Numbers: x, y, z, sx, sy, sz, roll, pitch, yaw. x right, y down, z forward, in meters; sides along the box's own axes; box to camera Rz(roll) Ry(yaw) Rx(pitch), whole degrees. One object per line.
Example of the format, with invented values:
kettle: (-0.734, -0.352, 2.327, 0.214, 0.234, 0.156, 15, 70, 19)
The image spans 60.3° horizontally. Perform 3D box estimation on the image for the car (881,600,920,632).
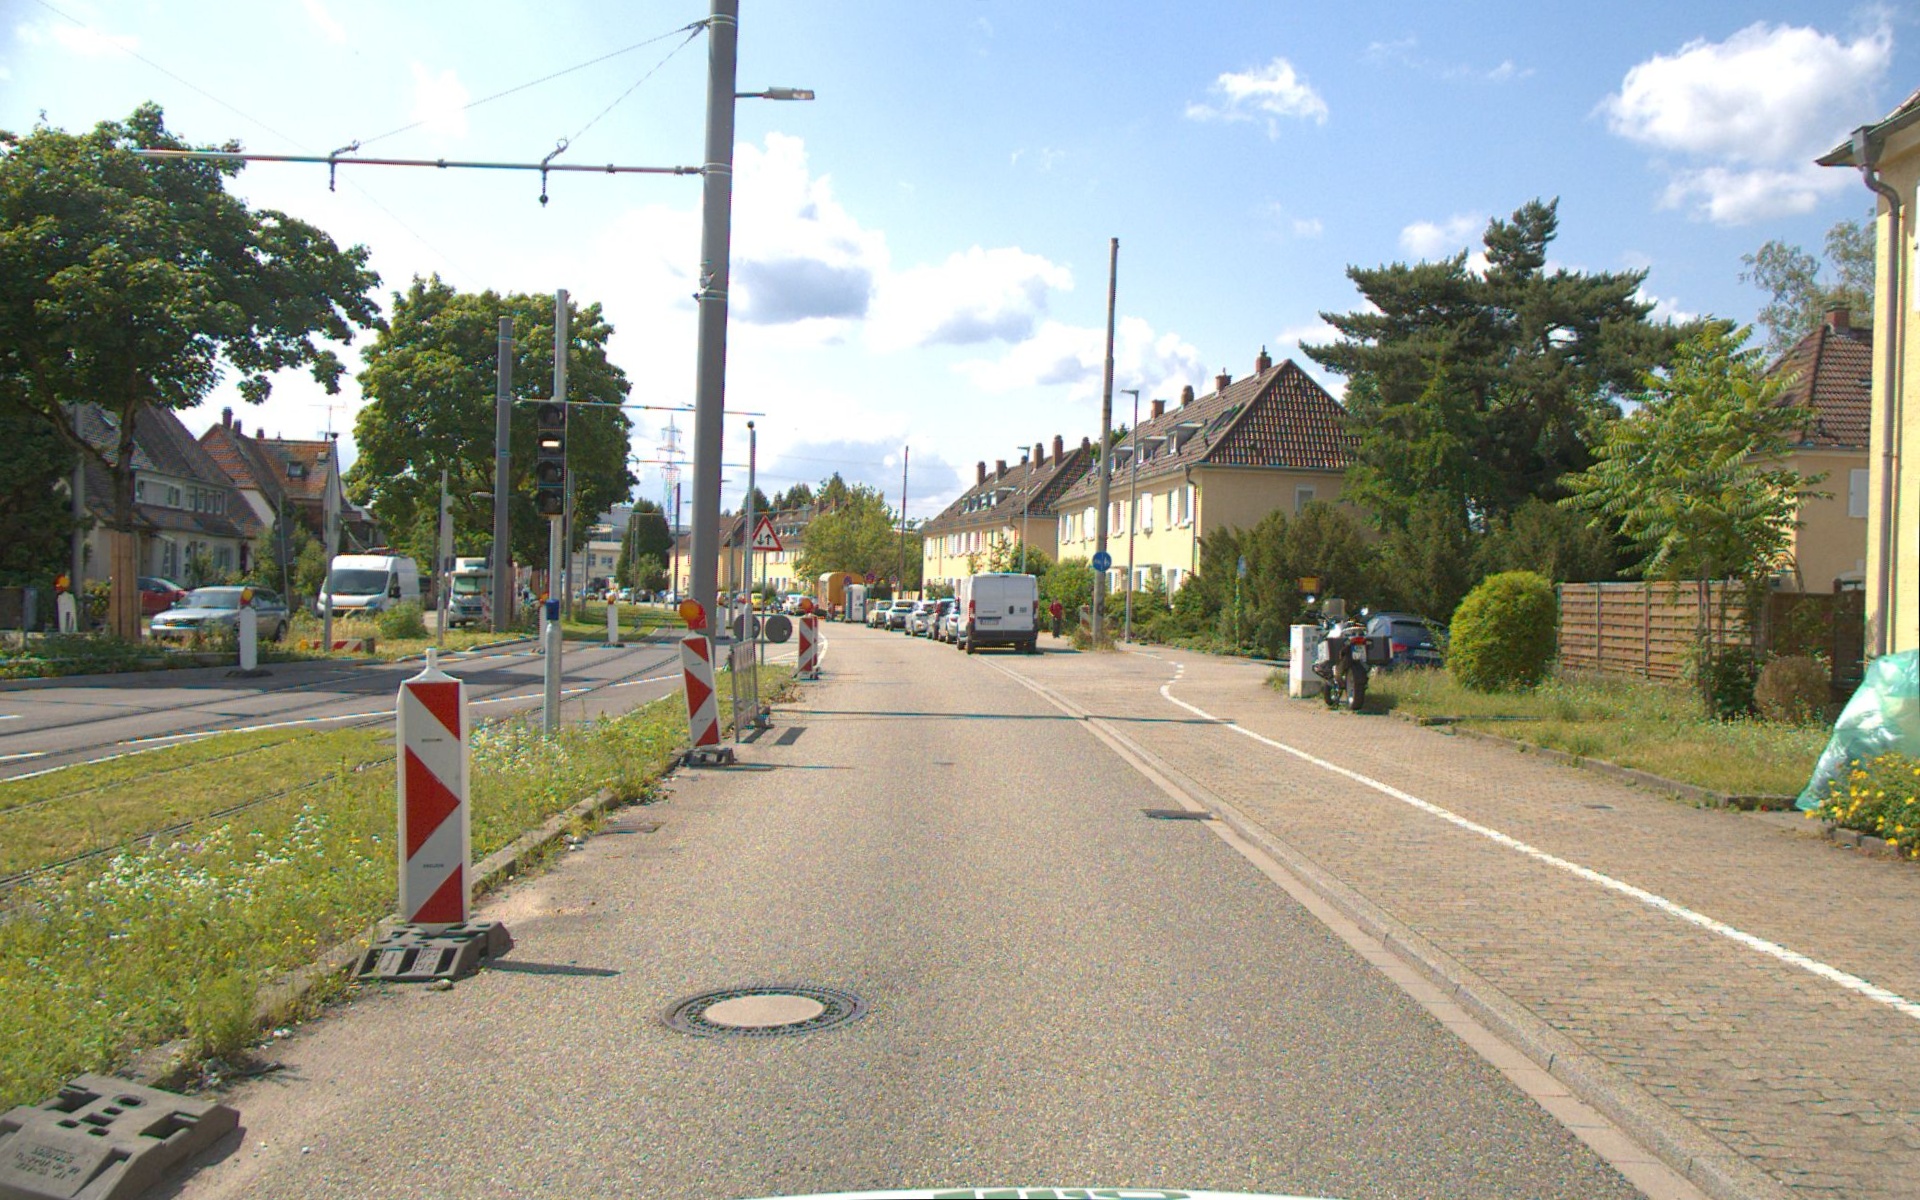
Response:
car: (-2.933, 0.761, 81.134, 1.499, 1.507, 3.802, 0, 0, -8)

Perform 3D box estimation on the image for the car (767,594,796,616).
car: (-14.504, 0.376, 134.423, 1.524, 1.670, 4.225, 1, 0, -18)

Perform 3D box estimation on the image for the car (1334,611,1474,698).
car: (8.788, 1.038, 33.044, 1.606, 1.404, 4.289, 2, 2, 0)

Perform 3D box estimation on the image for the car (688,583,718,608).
car: (-26.366, -0.454, 169.653, 1.902, 2.524, 5.482, 0, 0, -21)

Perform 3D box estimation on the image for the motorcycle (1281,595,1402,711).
motorcycle: (5.257, 0.692, 22.994, 1.026, 1.496, 2.584, -1, 0, -1)

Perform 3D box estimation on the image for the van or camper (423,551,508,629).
van or camper: (-20.475, -0.396, 68.833, 2.332, 3.022, 7.281, 1, 0, -9)

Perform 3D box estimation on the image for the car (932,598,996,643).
car: (0.104, 0.707, 58.633, 1.675, 1.530, 4.248, 1, 0, -8)

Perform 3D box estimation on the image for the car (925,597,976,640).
car: (-0.407, 0.691, 63.557, 1.596, 1.577, 3.804, 0, 0, -6)

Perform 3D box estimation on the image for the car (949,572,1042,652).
car: (0.979, 0.322, 49.453, 2.231, 2.221, 6.363, 1, 0, -4)

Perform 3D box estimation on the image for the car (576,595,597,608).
car: (-44.455, 0.147, 196.742, 1.643, 1.474, 3.930, -1, 1, -24)

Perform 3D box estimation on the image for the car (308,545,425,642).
car: (-17.625, -0.186, 49.373, 2.112, 2.715, 4.910, 1, 0, -6)

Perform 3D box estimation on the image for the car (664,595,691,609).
car: (-31.063, 0.255, 181.713, 1.776, 1.483, 4.727, -1, 0, -25)

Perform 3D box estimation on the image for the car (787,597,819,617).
car: (-11.839, 0.512, 124.583, 1.678, 1.474, 4.816, 1, 0, -15)

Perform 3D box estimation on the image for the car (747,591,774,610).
car: (-17.687, 0.045, 146.434, 1.611, 1.508, 3.912, -2, 2, -18)

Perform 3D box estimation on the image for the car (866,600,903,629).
car: (-4.020, 0.754, 87.570, 1.437, 1.528, 4.099, 0, 0, -10)

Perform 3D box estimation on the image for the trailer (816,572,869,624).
trailer: (-7.787, -0.137, 108.959, 2.644, 3.283, 5.064, 1, 0, -14)

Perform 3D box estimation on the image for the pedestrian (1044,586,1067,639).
pedestrian: (3.752, 0.485, 65.053, 0.758, 2.049, 0.760, 1, 0, -6)

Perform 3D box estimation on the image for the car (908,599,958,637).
car: (-1.171, 0.715, 69.290, 1.716, 1.524, 4.380, 0, 0, -6)

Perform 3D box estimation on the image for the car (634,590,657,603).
car: (-37.007, -0.399, 194.584, 1.741, 1.442, 3.969, -1, 1, -24)

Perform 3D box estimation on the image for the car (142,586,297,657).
car: (-16.848, 0.467, 37.884, 1.659, 1.490, 4.751, 1, 0, -4)

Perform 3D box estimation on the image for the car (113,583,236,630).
car: (-28.035, 0.233, 59.105, 3.549, 1.548, 1.668, 1, 0, -8)

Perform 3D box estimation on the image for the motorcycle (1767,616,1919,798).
motorcycle: (7.013, 0.752, 11.689, 2.181, 1.218, 0.854, 1, 0, 1)
